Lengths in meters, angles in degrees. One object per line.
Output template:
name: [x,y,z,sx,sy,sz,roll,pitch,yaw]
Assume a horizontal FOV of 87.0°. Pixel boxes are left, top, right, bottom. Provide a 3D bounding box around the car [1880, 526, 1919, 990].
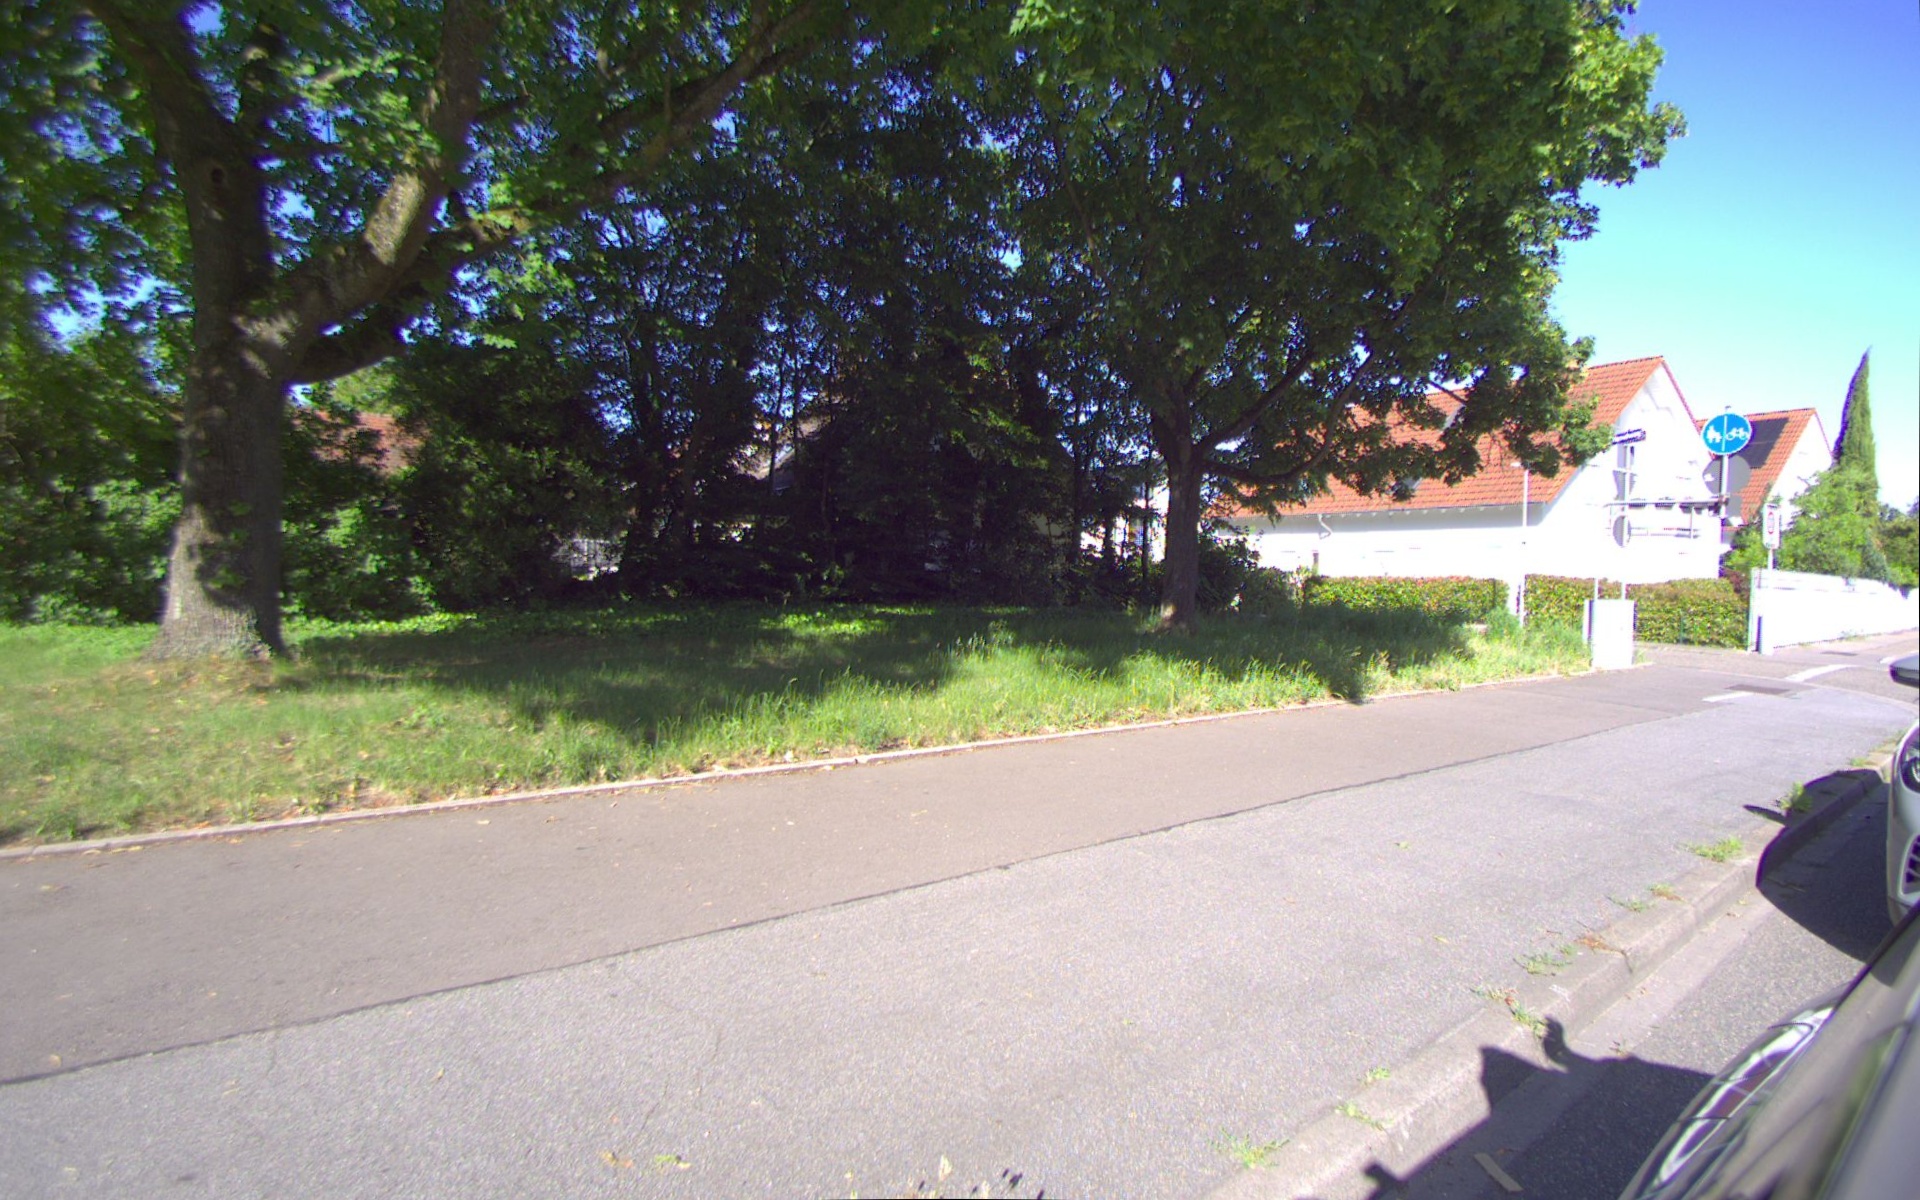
car: [5.639,0.604,4.436,4.133,1.710,1.857,0,3,-41]
